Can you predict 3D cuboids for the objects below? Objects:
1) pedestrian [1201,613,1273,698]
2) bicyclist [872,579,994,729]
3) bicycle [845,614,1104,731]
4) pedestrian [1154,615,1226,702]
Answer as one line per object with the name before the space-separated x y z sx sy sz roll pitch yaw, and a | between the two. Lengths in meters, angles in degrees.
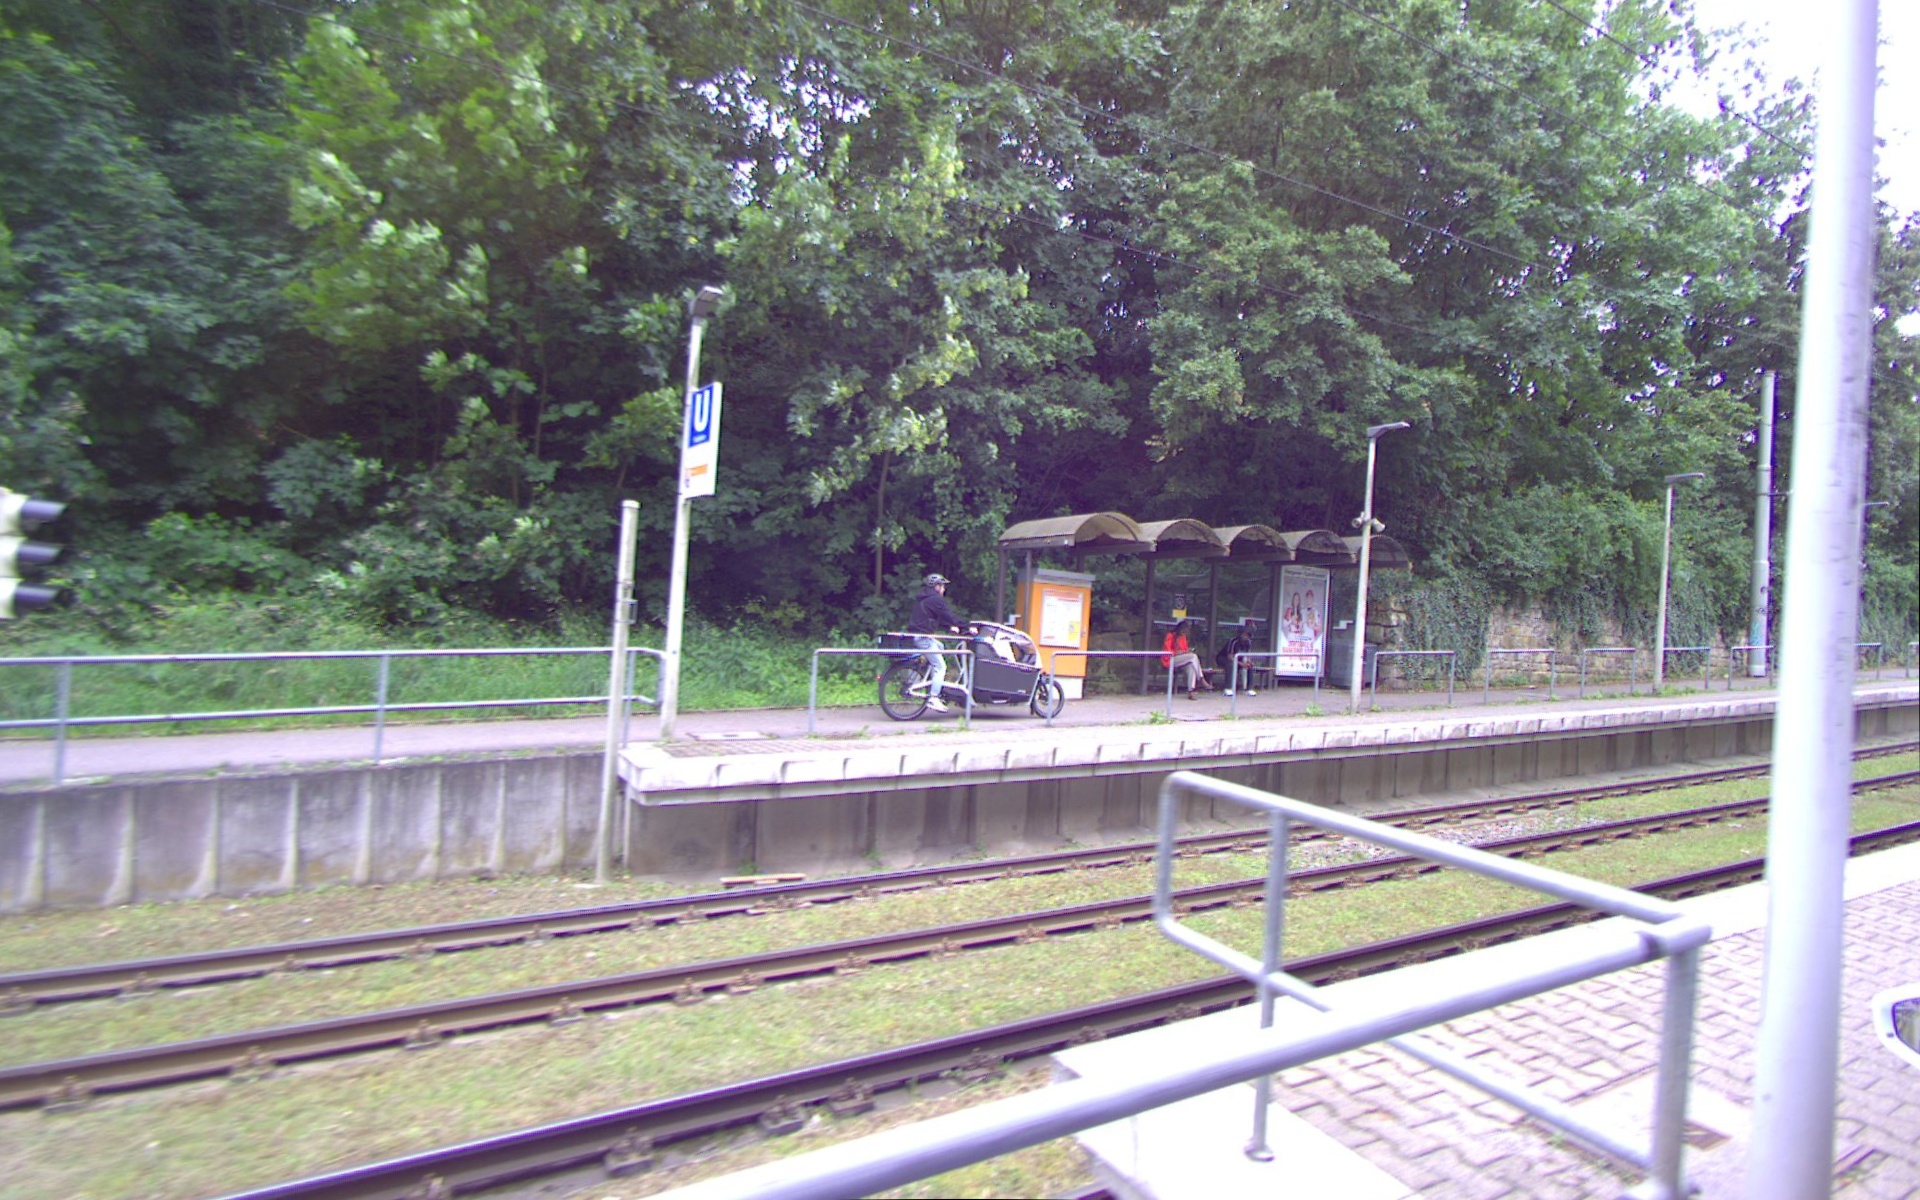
pedestrian | 4.742 0.942 17.221 0.778 1.343 0.768 5 1 -30
bicyclist | -0.338 0.637 12.383 1.276 1.734 0.730 0 3 -28
bicycle | 0.235 0.865 12.702 3.304 1.307 0.730 1 3 -28
pedestrian | 3.824 0.962 16.701 0.778 1.344 0.768 2 3 -30
